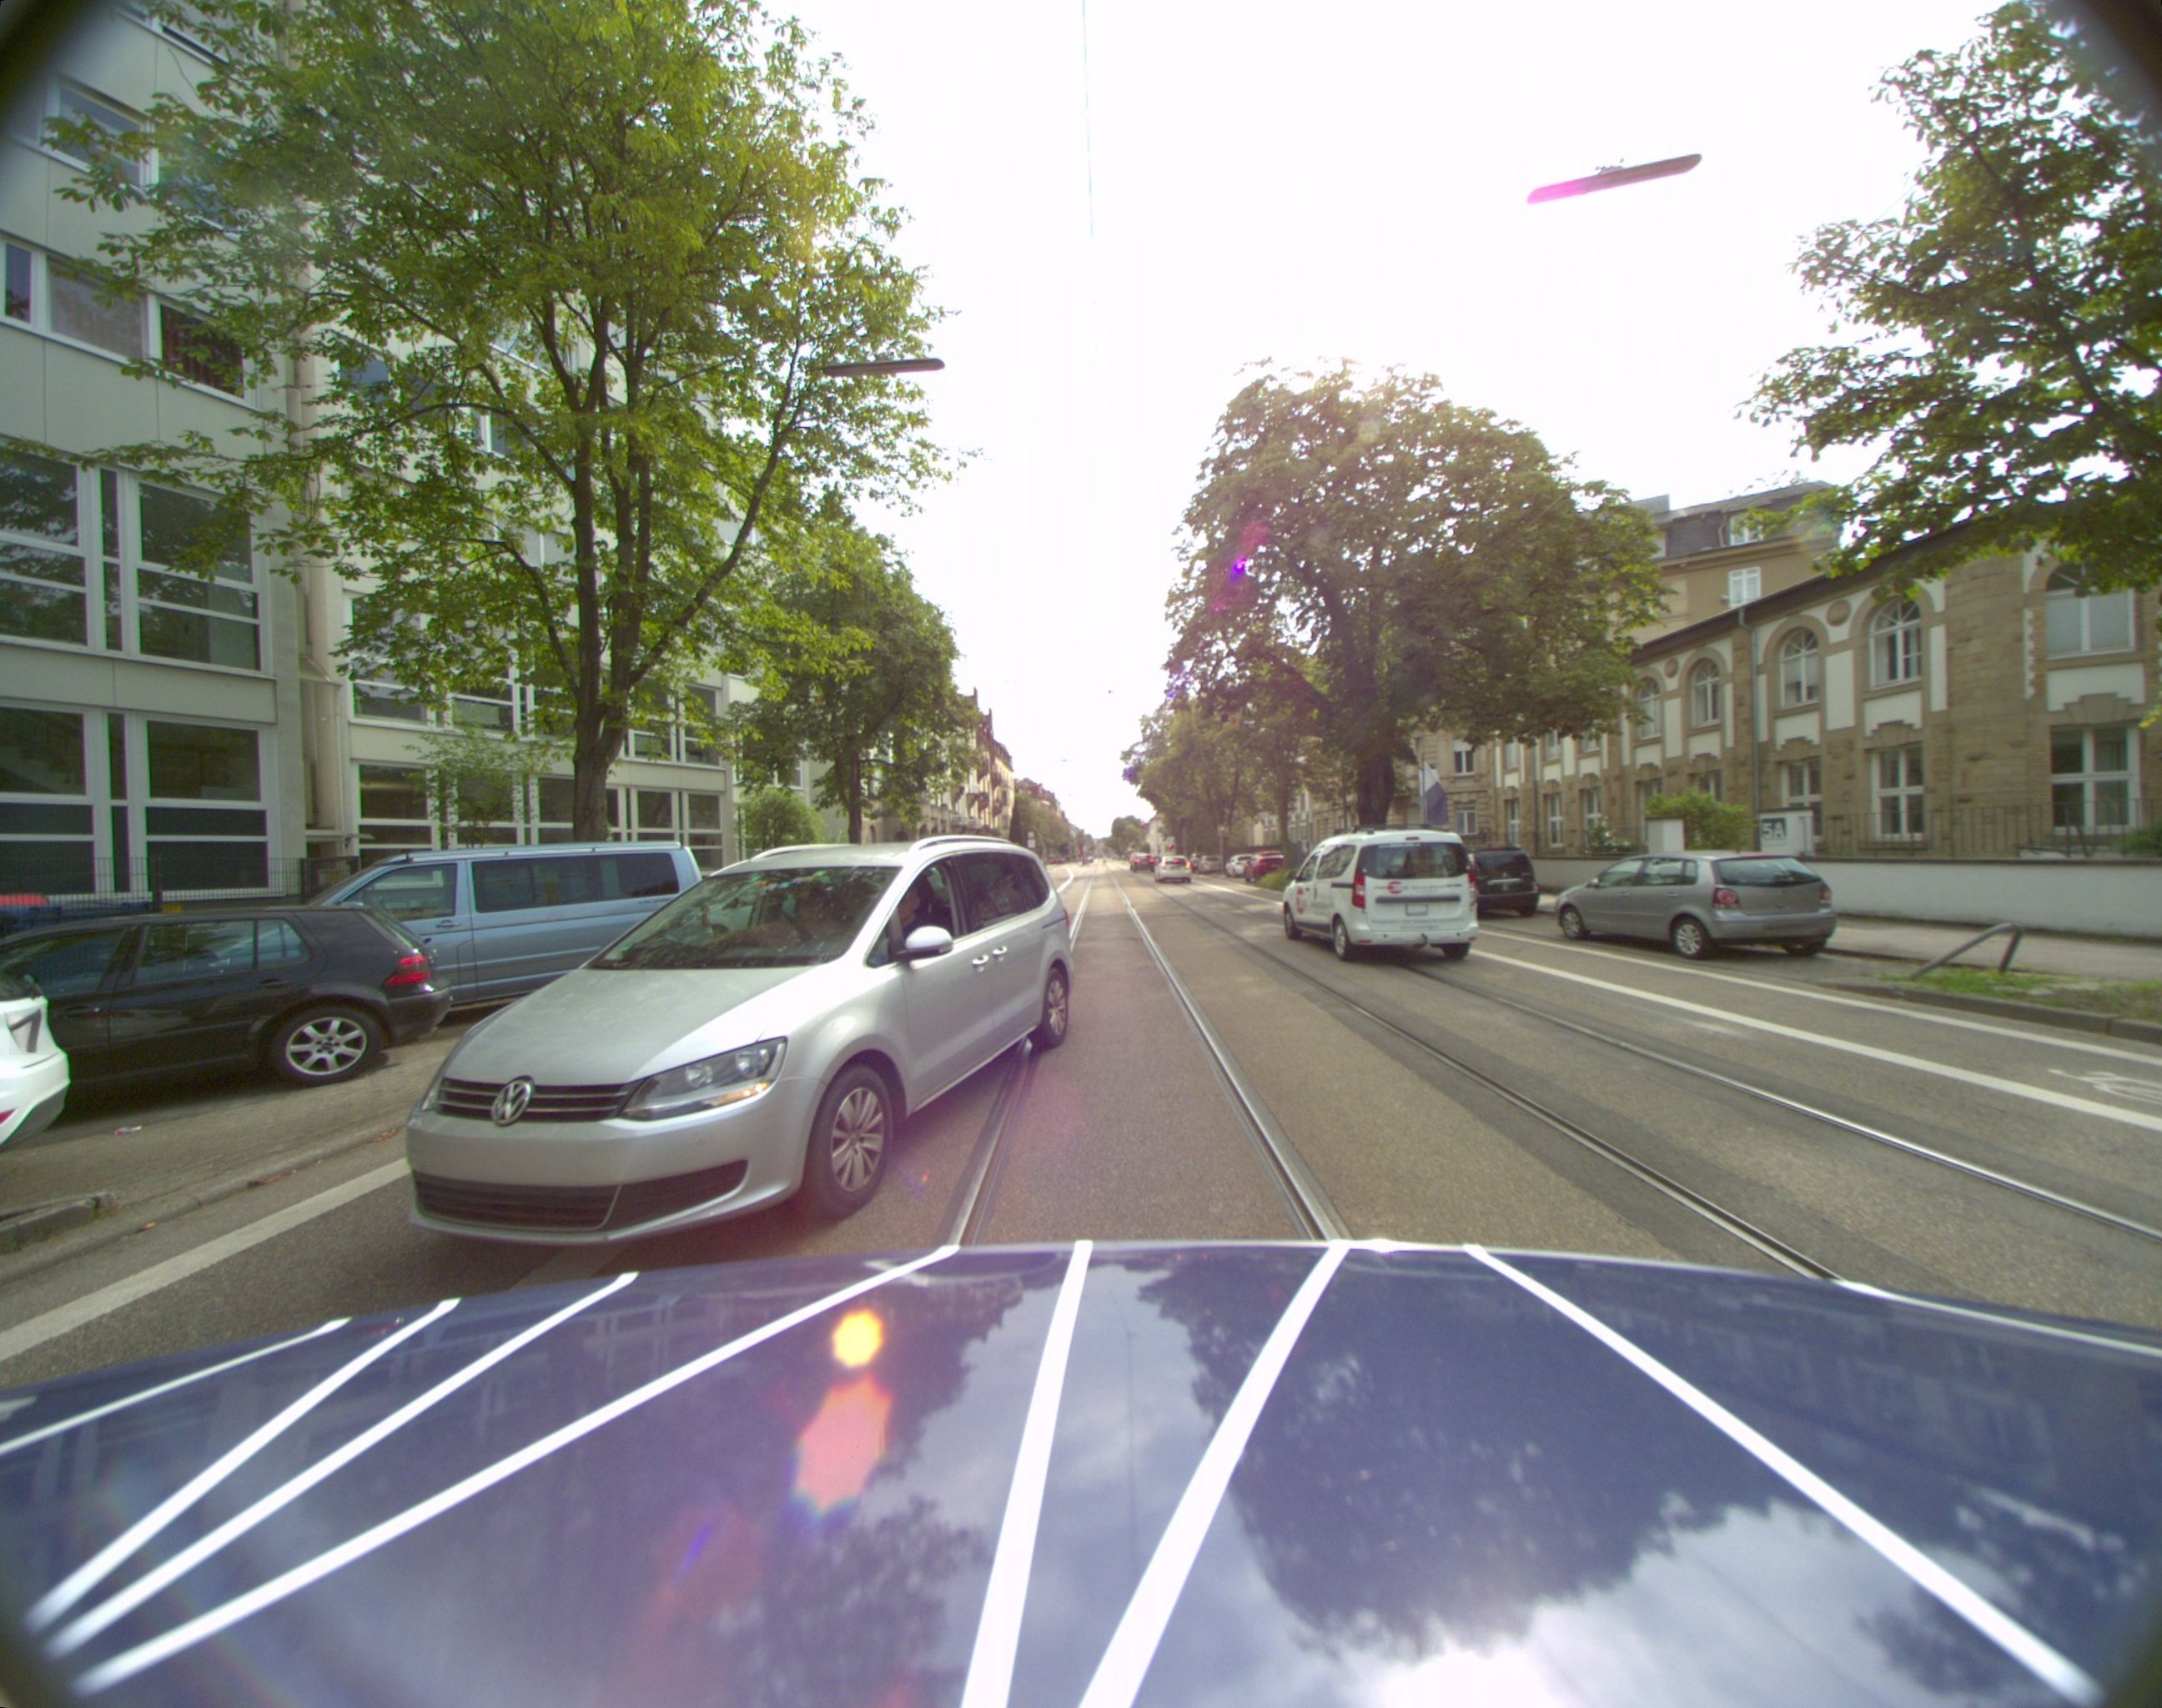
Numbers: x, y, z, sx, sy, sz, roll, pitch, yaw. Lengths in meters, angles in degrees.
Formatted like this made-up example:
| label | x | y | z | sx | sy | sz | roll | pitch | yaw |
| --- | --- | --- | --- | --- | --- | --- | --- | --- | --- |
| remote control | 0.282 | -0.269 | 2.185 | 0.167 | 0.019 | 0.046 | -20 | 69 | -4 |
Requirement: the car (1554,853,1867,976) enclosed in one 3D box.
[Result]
| label | x | y | z | sx | sy | sz | roll | pitch | yaw |
| --- | --- | --- | --- | --- | --- | --- | --- | --- | --- |
| car | 8.862 | 0.740 | 11.142 | 1.632 | 1.456 | 3.574 | -2 | 0 | 1 |

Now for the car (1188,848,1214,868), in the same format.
| label | x | y | z | sx | sy | sz | roll | pitch | yaw |
| --- | --- | --- | --- | --- | --- | --- | --- | --- | --- |
| car | 10.584 | 0.354 | 67.071 | 1.659 | 1.624 | 3.906 | -2 | 0 | 1 |

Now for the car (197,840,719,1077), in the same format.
| label | x | y | z | sx | sy | sz | roll | pitch | yaw |
| --- | --- | --- | --- | --- | --- | --- | --- | --- | --- |
| car | -6.965 | 0.931 | 9.004 | 4.354 | 2.052 | 1.994 | -2 | 0 | -44 |

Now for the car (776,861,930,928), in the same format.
| label | x | y | z | sx | sy | sz | roll | pitch | yaw |
| --- | --- | --- | --- | --- | --- | --- | --- | --- | --- |
| car | -6.497 | 1.095 | 21.859 | 3.777 | 1.609 | 1.809 | -3 | 1 | -40 |

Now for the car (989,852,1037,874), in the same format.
| label | x | y | z | sx | sy | sz | roll | pitch | yaw |
| --- | --- | --- | --- | --- | --- | --- | --- | --- | --- |
| car | -5.799 | 0.765 | 64.632 | 3.649 | 1.666 | 1.764 | -2 | 1 | -25 |

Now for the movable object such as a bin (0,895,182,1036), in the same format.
| label | x | y | z | sx | sy | sz | roll | pitch | yaw |
| --- | --- | --- | --- | --- | --- | --- | --- | --- | --- |
| movable object such as a bin | -12.239 | 1.278 | 9.052 | 1.334 | 1.450 | 1.400 | -2 | 0 | 5 |

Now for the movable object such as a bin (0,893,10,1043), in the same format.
| label | x | y | z | sx | sy | sz | roll | pitch | yaw |
| --- | --- | --- | --- | --- | --- | --- | --- | --- | --- |
| movable object such as a bin | -12.196 | 1.240 | 7.493 | 1.334 | 1.586 | 1.354 | -2 | 1 | 5 |

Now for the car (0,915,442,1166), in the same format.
| label | x | y | z | sx | sy | sz | roll | pitch | yaw |
| --- | --- | --- | --- | --- | --- | --- | --- | --- | --- |
| car | -7.389 | 1.320 | 5.559 | 3.980 | 1.379 | 1.810 | -3 | -1 | -44 |

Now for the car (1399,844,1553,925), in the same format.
| label | x | y | z | sx | sy | sz | roll | pitch | yaw |
| --- | --- | --- | --- | --- | --- | --- | --- | --- | --- |
| car | 9.020 | 0.632 | 17.730 | 1.659 | 1.624 | 3.725 | -2 | 0 | 1 |

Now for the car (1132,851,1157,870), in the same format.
| label | x | y | z | sx | sy | sz | roll | pitch | yaw |
| --- | --- | --- | --- | --- | --- | --- | --- | --- | --- |
| car | 5.703 | 0.546 | 68.501 | 1.852 | 1.603 | 4.334 | -2 | 0 | 1 |

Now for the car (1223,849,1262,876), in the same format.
| label | x | y | z | sx | sy | sz | roll | pitch | yaw |
| --- | --- | --- | --- | --- | --- | --- | --- | --- | --- |
| car | 10.407 | 0.537 | 49.220 | 1.659 | 1.592 | 3.906 | -2 | 0 | 1 |

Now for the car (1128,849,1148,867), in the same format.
| label | x | y | z | sx | sy | sz | roll | pitch | yaw |
| --- | --- | --- | --- | --- | --- | --- | --- | --- | --- |
| car | 6.125 | 0.452 | 82.036 | 1.799 | 1.813 | 4.678 | -2 | 0 | 1 |

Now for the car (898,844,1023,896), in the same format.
| label | x | y | z | sx | sy | sz | roll | pitch | yaw |
| --- | --- | --- | --- | --- | --- | --- | --- | --- | --- |
| car | -5.652 | 0.689 | 36.035 | 5.449 | 2.163 | 2.142 | -3 | 1 | -40 |

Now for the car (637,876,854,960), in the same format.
| label | x | y | z | sx | sy | sz | roll | pitch | yaw |
| --- | --- | --- | --- | --- | --- | --- | --- | --- | --- |
| car | -6.816 | 1.209 | 15.643 | 3.652 | 1.322 | 1.763 | -3 | 1 | -44 |

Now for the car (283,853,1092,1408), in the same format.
| label | x | y | z | sx | sy | sz | roll | pitch | yaw |
| --- | --- | --- | --- | --- | --- | --- | --- | --- | --- |
| car | -1.454 | 0.894 | 4.836 | 1.814 | 1.691 | 4.622 | -2 | 0 | 16 |

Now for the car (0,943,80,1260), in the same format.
| label | x | y | z | sx | sy | sz | roll | pitch | yaw |
| --- | --- | --- | --- | --- | --- | --- | --- | --- | --- |
| car | -6.984 | 1.268 | 2.725 | 3.869 | 1.385 | 1.629 | -2 | 0 | -45 |

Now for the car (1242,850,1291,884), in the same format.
| label | x | y | z | sx | sy | sz | roll | pitch | yaw |
| --- | --- | --- | --- | --- | --- | --- | --- | --- | --- |
| car | 9.837 | 0.651 | 40.462 | 1.659 | 1.624 | 3.906 | -2 | 0 | 1 |

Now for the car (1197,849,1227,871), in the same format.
| label | x | y | z | sx | sy | sz | roll | pitch | yaw |
| --- | --- | --- | --- | --- | --- | --- | --- | --- | --- |
| car | 10.260 | 0.455 | 59.762 | 1.659 | 1.624 | 3.906 | -2 | 0 | 1 |

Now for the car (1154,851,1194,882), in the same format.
| label | x | y | z | sx | sy | sz | roll | pitch | yaw |
| --- | --- | --- | --- | --- | --- | --- | --- | --- | --- |
| car | 5.158 | 0.677 | 42.631 | 1.736 | 1.603 | 4.334 | -1 | 0 | 1 |

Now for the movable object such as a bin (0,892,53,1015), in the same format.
| label | x | y | z | sx | sy | sz | roll | pitch | yaw |
| --- | --- | --- | --- | --- | --- | --- | --- | --- | --- |
| movable object such as a bin | -14.476 | 1.306 | 9.856 | 1.177 | 1.559 | 1.177 | -2 | 1 | 30 |

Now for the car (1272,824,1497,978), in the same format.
| label | x | y | z | sx | sy | sz | roll | pitch | yaw |
| --- | --- | --- | --- | --- | --- | --- | --- | --- | --- |
| car | 4.367 | 0.588 | 11.742 | 1.736 | 1.873 | 4.378 | -2 | 0 | 1 |
